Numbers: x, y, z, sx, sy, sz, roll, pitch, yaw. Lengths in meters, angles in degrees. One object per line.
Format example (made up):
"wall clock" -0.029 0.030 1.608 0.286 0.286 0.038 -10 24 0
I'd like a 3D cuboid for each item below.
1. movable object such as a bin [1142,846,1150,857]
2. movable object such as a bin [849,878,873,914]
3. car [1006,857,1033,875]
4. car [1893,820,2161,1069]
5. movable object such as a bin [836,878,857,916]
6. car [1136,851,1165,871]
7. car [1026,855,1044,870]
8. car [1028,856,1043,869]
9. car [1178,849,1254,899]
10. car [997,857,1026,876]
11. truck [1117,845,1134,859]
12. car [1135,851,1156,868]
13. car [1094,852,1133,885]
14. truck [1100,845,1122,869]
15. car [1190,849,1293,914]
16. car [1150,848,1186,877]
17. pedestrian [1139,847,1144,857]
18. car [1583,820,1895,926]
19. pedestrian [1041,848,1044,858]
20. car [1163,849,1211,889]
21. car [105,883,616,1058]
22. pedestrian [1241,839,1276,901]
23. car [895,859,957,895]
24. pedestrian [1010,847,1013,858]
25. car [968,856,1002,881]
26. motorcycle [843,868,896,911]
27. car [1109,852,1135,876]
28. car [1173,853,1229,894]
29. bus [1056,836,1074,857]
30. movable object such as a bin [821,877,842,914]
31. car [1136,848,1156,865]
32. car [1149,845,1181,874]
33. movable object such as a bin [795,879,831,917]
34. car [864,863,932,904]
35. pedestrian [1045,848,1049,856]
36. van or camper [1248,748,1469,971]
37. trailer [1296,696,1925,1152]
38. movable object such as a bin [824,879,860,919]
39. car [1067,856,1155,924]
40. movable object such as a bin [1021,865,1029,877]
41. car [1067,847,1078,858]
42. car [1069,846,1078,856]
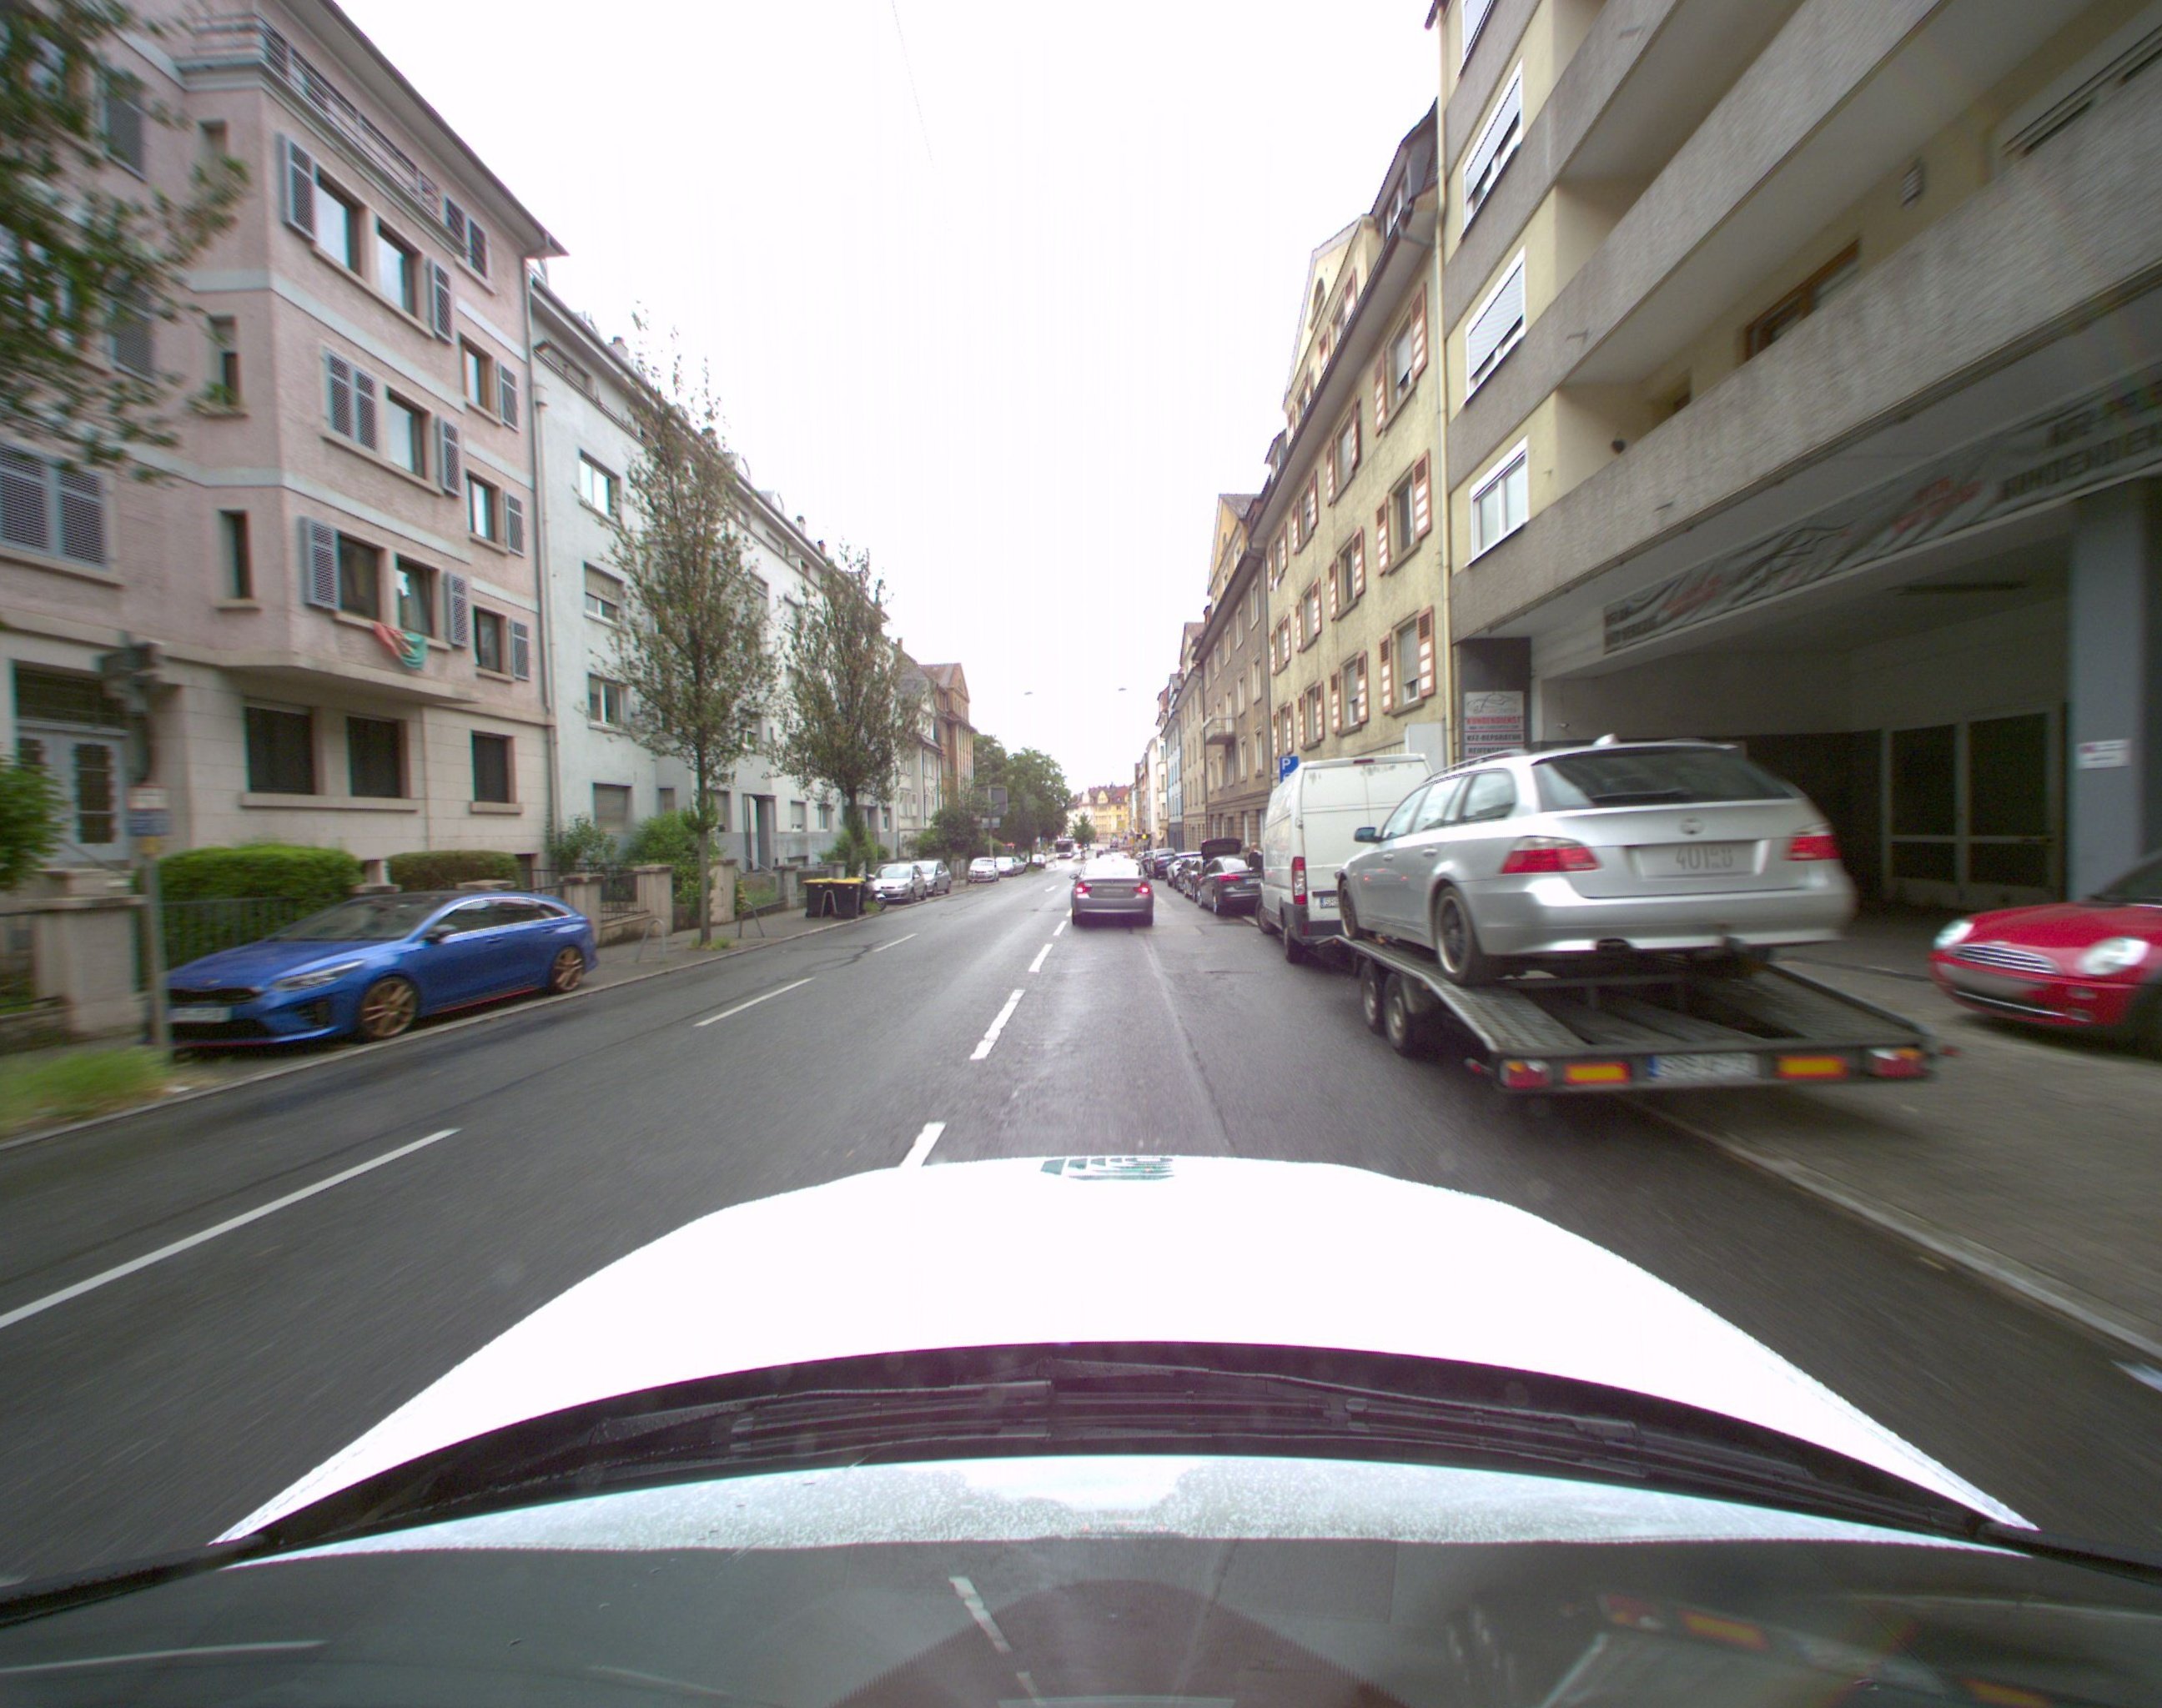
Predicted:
"movable object such as a bin" 10.607 -0.399 133.686 1.119 1.702 1.433 -2 -1 -1
"movable object such as a bin" -6.577 1.245 24.349 0.522 1.058 0.484 2 -1 3
"car" -4.998 0.960 66.546 1.676 1.390 3.938 -2 0 2
"car" 8.262 0.438 5.437 3.970 1.391 1.559 -3 0 3
"movable object such as a bin" -6.772 1.241 23.511 0.471 1.058 0.482 2 -1 -7
"car" 5.247 0.511 61.937 1.834 1.409 4.388 -3 0 1
"car" -4.899 0.874 86.564 1.648 1.454 3.942 -1 0 0
"car" -5.043 0.948 90.920 1.627 1.454 3.836 -1 0 -2
"car" 4.381 0.643 27.024 1.771 1.479 4.587 -1 -1 1
"car" -5.199 0.924 61.172 1.676 1.390 3.911 0 0 2
"truck" 6.905 -0.324 126.619 2.210 2.116 4.649 3 0 -2
"car" 6.553 0.536 83.133 1.811 1.558 4.295 -3 0 2
"car" 1.477 0.679 37.649 1.597 1.420 3.286 2 -1 -1
"truck" 3.264 0.381 89.602 2.209 2.544 4.780 2 -1 1
"car" 4.071 0.669 21.344 1.772 1.479 4.187 -1 -1 -1
"car" 5.151 0.471 48.692 1.783 1.548 4.228 -3 0 2
"pedestrian" 9.985 -0.289 134.128 0.746 1.661 0.755 2 -1 5
"car" 10.649 0.260 13.369 3.644 1.391 1.896 -3 1 -4
"pedestrian" -6.345 -0.195 134.663 0.542 1.709 0.465 2 -1 -5
"car" 4.800 0.656 37.203 1.626 1.638 4.194 2 0 0
"car" -7.578 1.094 9.374 1.672 1.386 4.604 -1 -1 2
"pedestrian" 5.293 0.465 24.289 0.704 1.787 0.691 -4 -2 33
"car" -6.681 0.968 35.546 1.593 1.451 3.893 -1 -1 5
"pedestrian" -10.962 -0.200 128.252 0.464 1.790 0.543 2 -1 -5
"car" -5.999 0.908 51.105 1.640 1.508 3.796 -1 -1 0
"motorcycle" -6.745 1.111 25.916 1.788 1.315 0.746 -2 0 43
"car" 2.467 0.589 48.927 1.429 1.356 3.765 2 -1 3
"car" 4.598 0.715 31.628 1.626 1.478 3.734 2 0 0
"bus" -2.665 -1.195 140.342 2.672 3.201 11.956 2 -1 1
"movable object such as a bin" -7.378 1.231 24.090 0.471 1.058 0.482 2 -1 -7
"car" 5.954 0.206 75.272 1.577 1.429 3.596 -4 0 1
"car" 5.629 0.380 55.168 1.784 1.817 4.081 -3 0 1
"movable object such as a bin" -7.600 1.235 23.137 0.821 1.058 0.484 1 -1 2
"car" -6.763 1.061 30.458 1.595 1.396 3.888 -1 -1 1
"pedestrian" -6.300 -0.403 150.052 0.617 1.378 0.545 2 -1 2
"van or camper" 4.072 0.063 13.285 2.172 2.699 6.434 -2 0 8
"trailer" 3.257 0.318 6.548 1.984 2.152 5.079 -3 1 4
"movable object such as a bin" -6.640 1.243 22.664 0.821 1.058 0.484 2 -1 2
"car" 0.647 0.744 17.952 1.749 1.362 3.165 0 -1 2
"movable object such as a bin" -4.948 1.490 72.242 0.627 1.058 0.600 -1 -1 2
"car" -1.612 -0.353 160.961 1.987 2.014 4.000 2 -1 1
"car" -1.619 -0.649 176.142 1.987 2.014 4.000 2 -1 1
